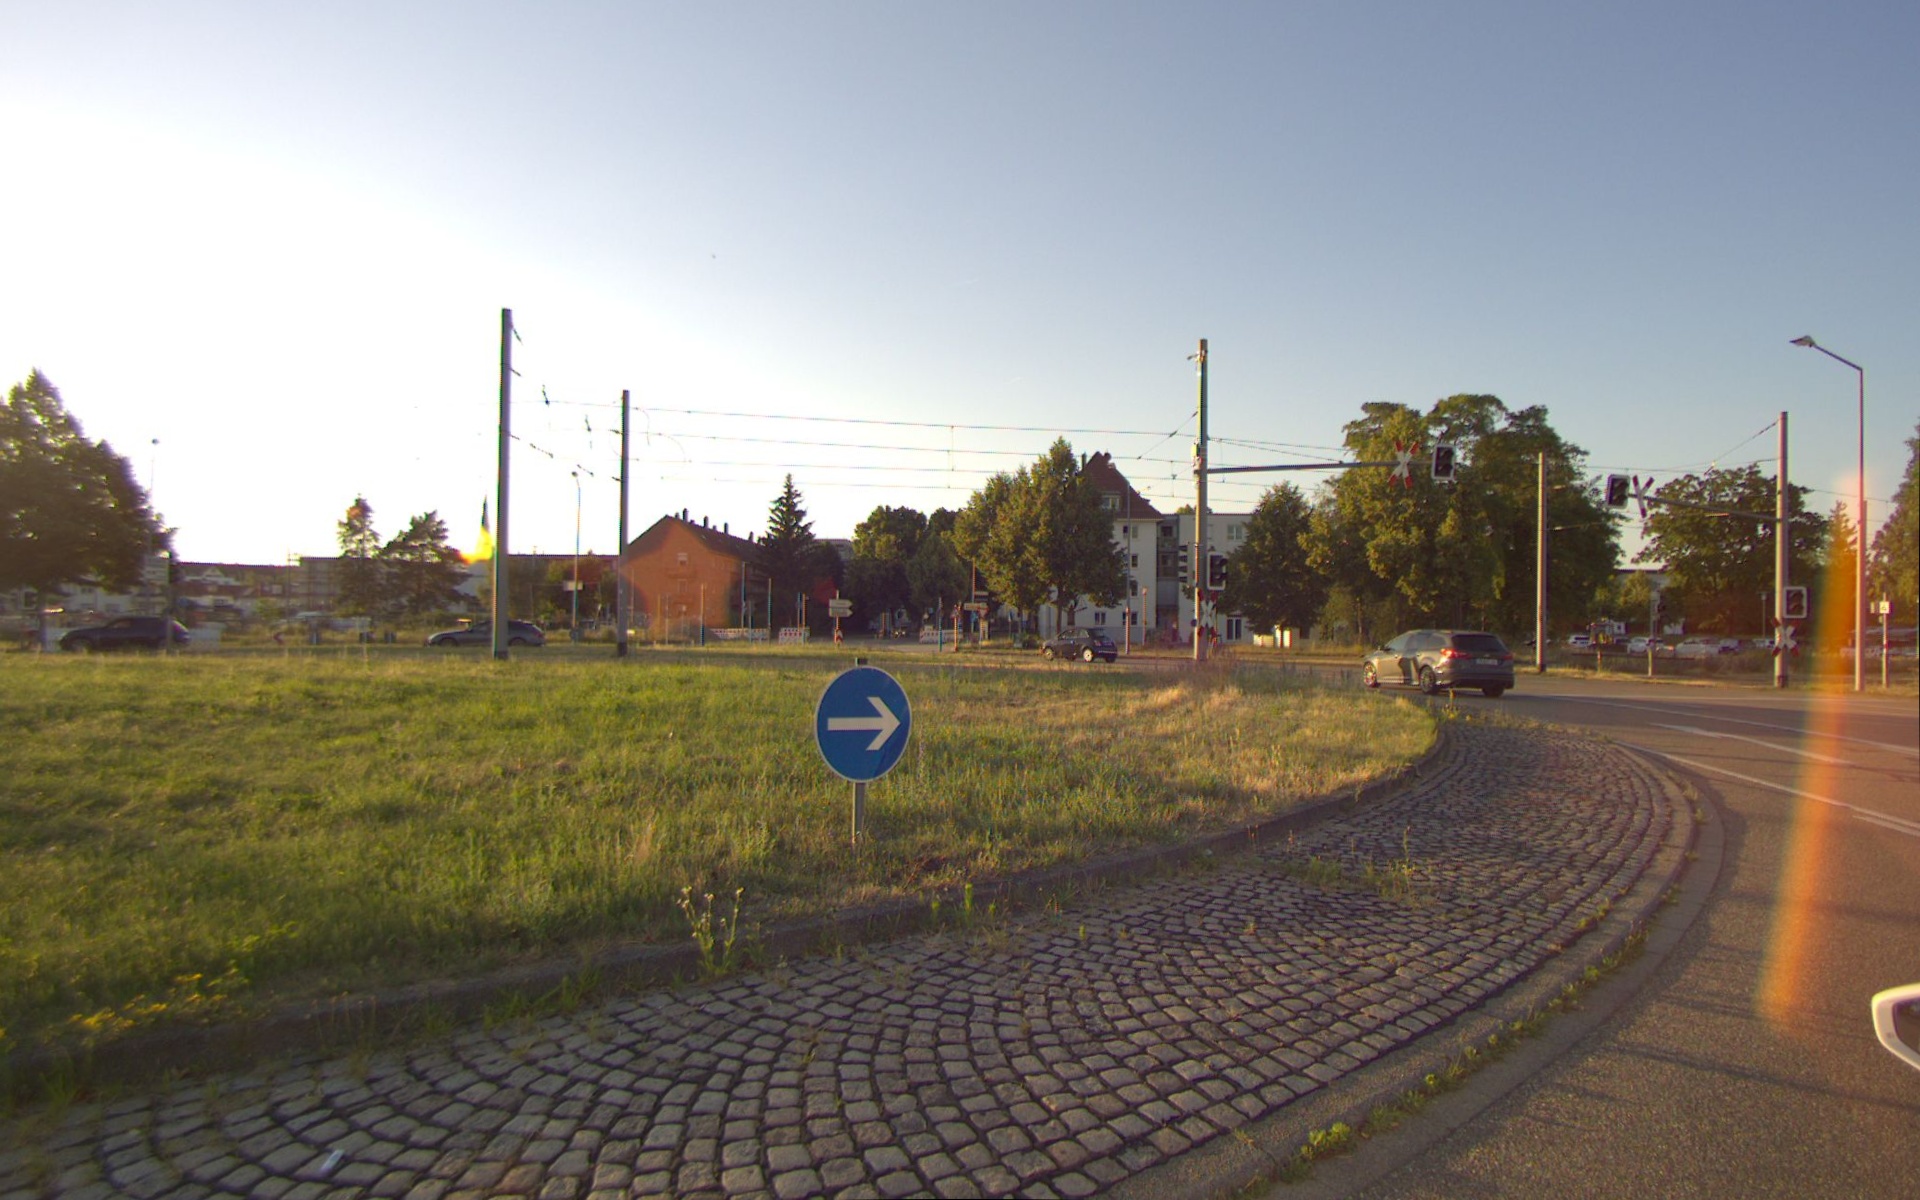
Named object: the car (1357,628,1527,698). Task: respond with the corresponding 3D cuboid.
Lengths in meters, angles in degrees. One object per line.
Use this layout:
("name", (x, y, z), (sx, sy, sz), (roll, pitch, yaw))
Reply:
("car", (11.248, 1.422, 23.781), (1.719, 1.486, 4.131), (0, -1, -6))

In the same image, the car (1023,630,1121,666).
("car", (4.799, 2.030, 43.492), (1.740, 1.465, 4.081), (1, -2, -44))

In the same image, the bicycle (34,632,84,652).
("bicycle", (-46.719, 2.155, 52.105), (0.539, 0.993, 1.842), (0, -1, 26))

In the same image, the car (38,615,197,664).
("car", (-32.215, 1.482, 38.605), (4.556, 1.771, 1.733), (1, -1, -38))

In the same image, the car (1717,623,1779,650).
("car", (63.361, 2.903, 80.818), (1.960, 2.126, 4.001), (1, -1, 2))

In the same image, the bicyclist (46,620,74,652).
("bicyclist", (-46.689, 1.845, 52.122), (0.800, 1.662, 0.814), (0, -1, 26))

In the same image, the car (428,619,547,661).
("car", (-20.597, 1.712, 43.989), (4.525, 1.771, 1.744), (0, -1, -19))

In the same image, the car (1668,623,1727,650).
("car", (59.535, 2.919, 81.144), (1.960, 2.126, 4.001), (1, -1, 2))

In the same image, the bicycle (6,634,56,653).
("bicycle", (-48.313, 2.253, 52.233), (0.539, 0.993, 1.842), (0, -1, 26))
